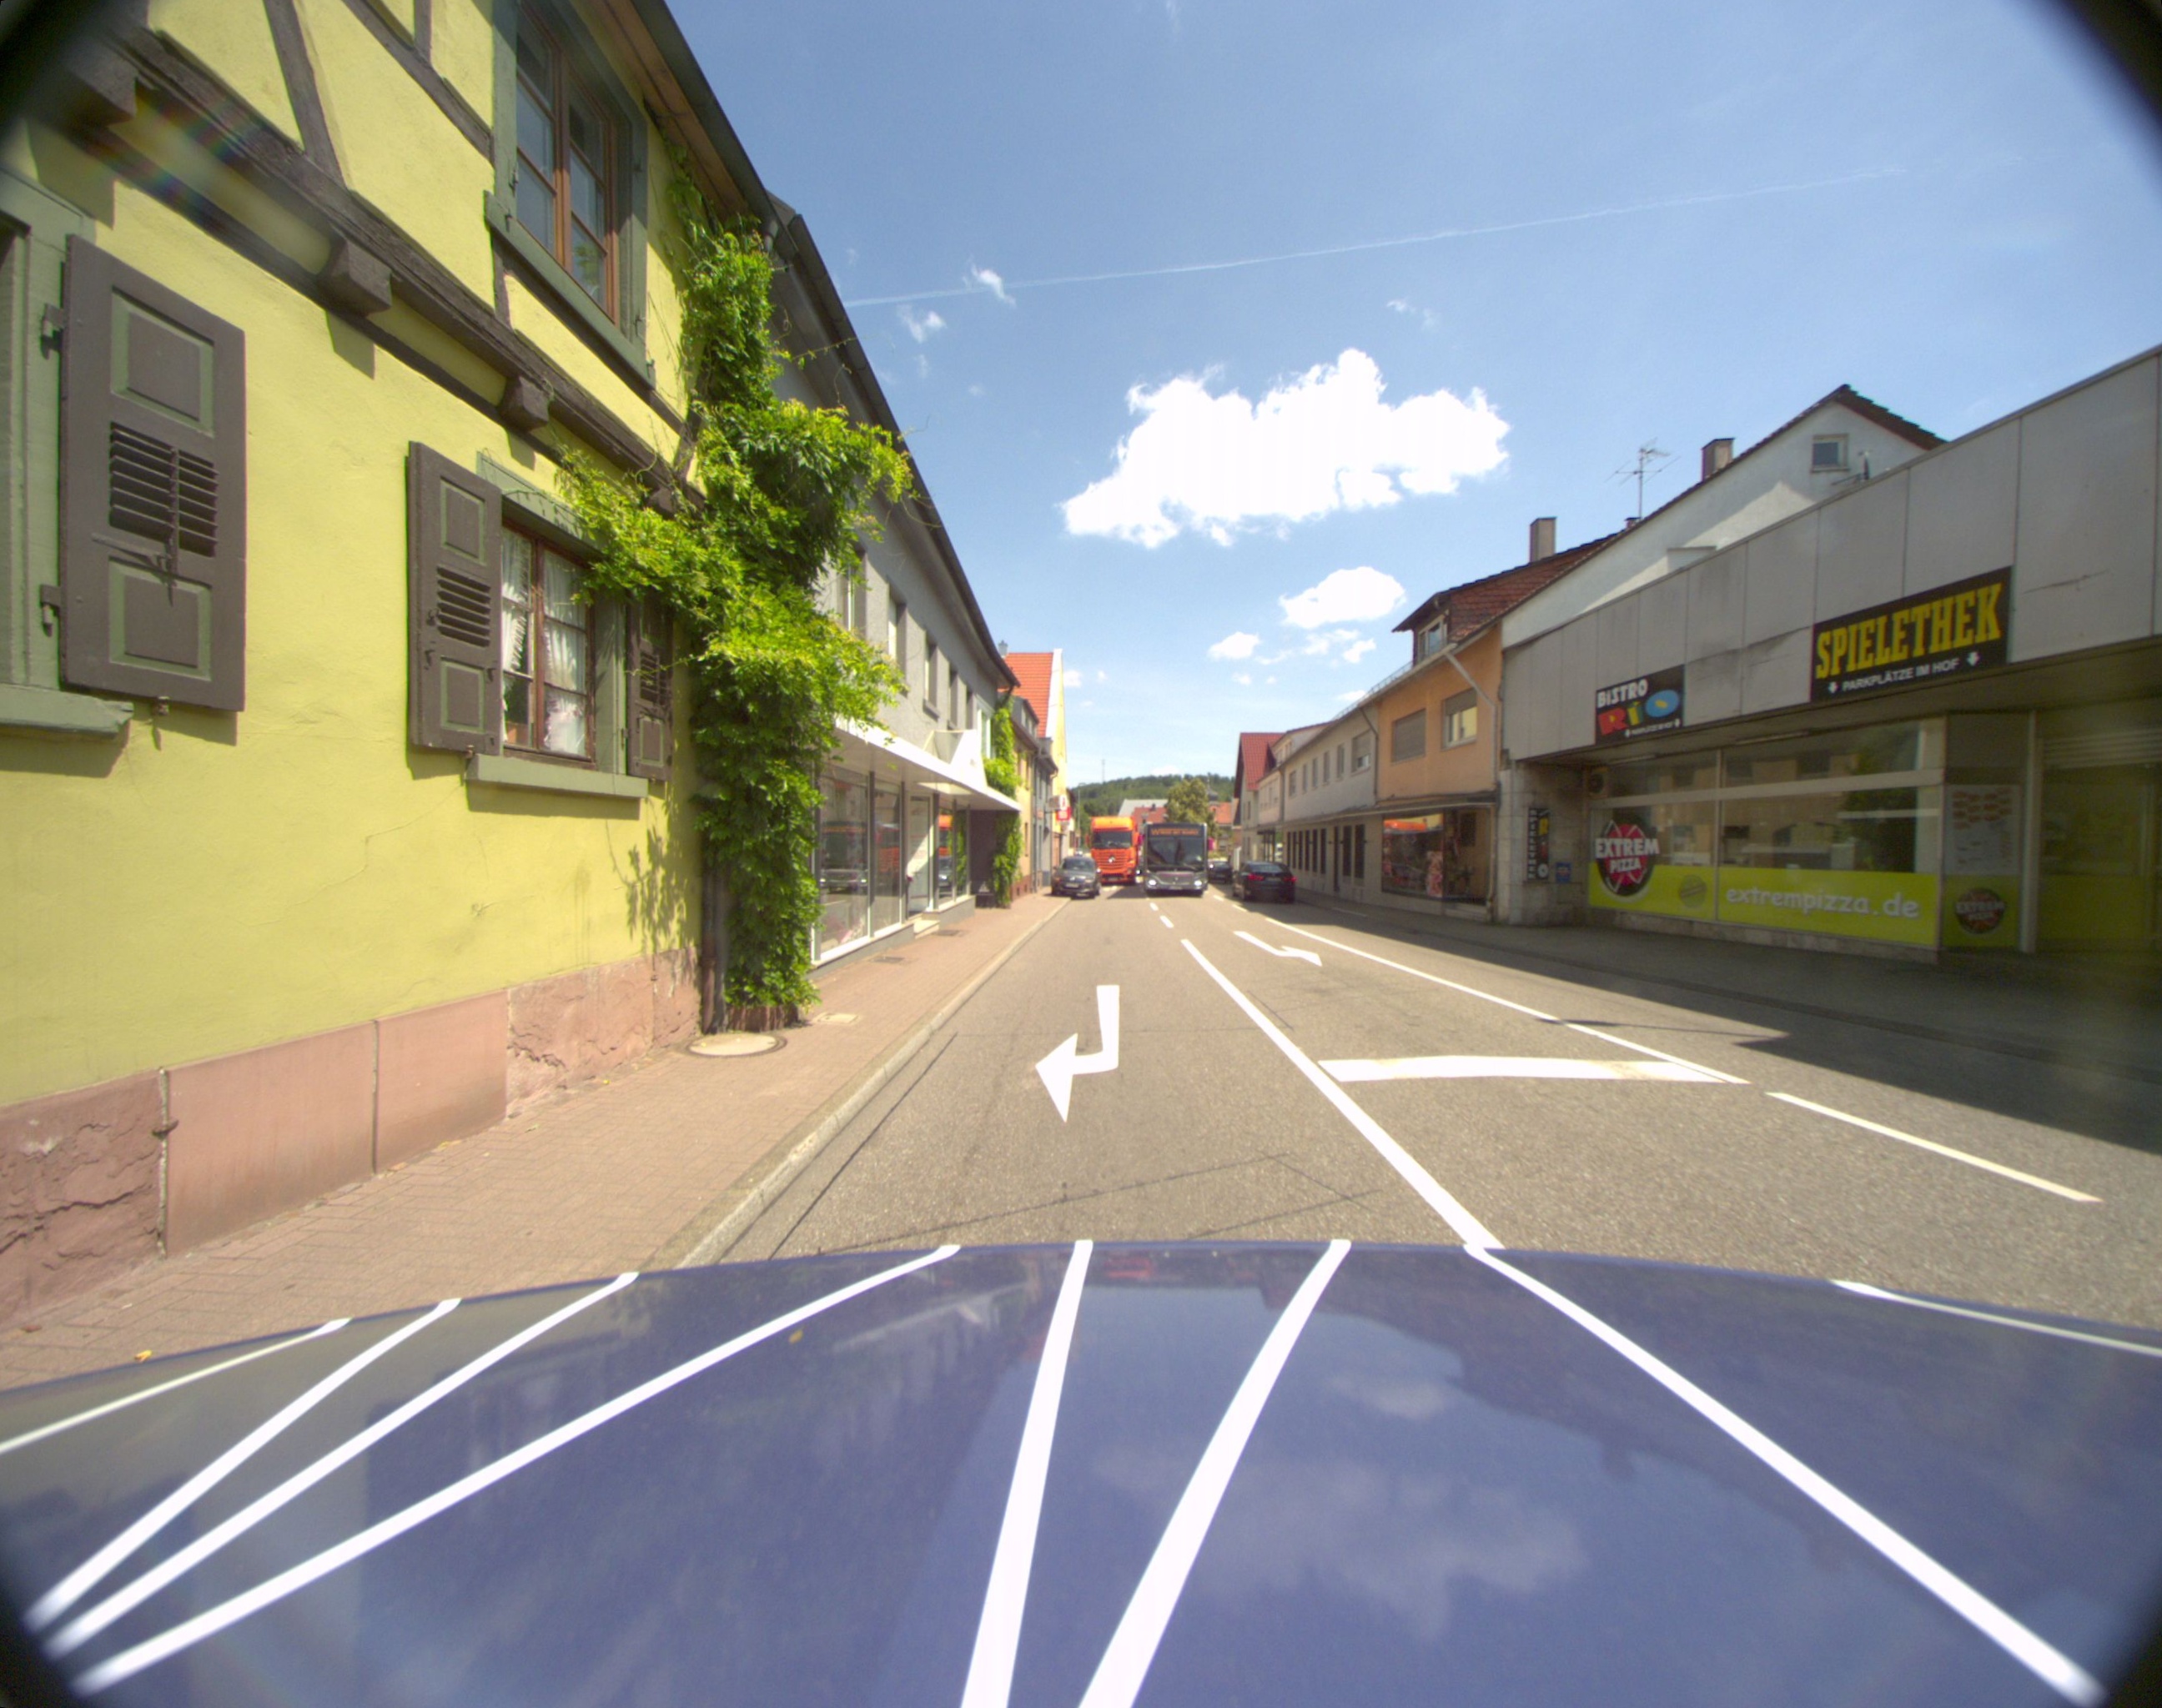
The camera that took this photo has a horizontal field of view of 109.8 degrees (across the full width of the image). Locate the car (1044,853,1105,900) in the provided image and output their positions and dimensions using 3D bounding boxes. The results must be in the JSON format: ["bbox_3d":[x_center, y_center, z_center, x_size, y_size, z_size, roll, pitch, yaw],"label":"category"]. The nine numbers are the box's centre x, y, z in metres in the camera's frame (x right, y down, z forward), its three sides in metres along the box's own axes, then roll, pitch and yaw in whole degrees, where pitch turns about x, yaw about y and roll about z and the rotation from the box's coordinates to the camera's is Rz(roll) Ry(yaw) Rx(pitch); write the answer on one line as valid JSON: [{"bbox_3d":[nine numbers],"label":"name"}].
[{"bbox_3d":[-0.195,0.876,31.650,1.997,1.699,4.102,2,1,6],"label":"car"}]

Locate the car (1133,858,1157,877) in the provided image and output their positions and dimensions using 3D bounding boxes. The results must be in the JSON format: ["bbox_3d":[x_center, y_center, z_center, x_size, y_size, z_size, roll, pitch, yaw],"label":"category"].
[{"bbox_3d":[4.985,1.036,59.448,1.721,1.400,4.286,3,0,4],"label":"car"}]

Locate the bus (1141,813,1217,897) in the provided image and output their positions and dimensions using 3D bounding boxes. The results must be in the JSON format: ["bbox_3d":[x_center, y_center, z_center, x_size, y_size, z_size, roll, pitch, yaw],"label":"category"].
[{"bbox_3d":[4.761,0.080,38.663,2.857,3.185,19.042,-1,0,6],"label":"bus"}]

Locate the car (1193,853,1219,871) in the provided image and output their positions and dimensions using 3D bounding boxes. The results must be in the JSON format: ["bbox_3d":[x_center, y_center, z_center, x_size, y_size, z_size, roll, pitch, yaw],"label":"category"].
[{"bbox_3d":[10.663,0.702,65.094,1.721,1.400,4.286,3,0,4],"label":"car"}]

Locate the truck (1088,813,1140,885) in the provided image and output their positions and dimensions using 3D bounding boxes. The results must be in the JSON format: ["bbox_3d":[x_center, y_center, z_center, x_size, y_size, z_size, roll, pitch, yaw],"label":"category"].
[{"bbox_3d":[2.212,-0.247,47.200,2.614,3.922,9.997,-2,-1,5],"label":"truck"}]

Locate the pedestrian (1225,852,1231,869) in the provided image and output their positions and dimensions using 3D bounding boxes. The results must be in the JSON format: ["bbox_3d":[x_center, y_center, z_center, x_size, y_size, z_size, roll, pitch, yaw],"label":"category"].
[{"bbox_3d":[15.006,0.687,77.667,0.471,1.754,0.478,0,2,-17],"label":"pedestrian"}]

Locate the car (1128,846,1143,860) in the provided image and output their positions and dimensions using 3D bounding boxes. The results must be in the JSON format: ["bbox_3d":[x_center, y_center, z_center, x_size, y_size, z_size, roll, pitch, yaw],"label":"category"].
[{"bbox_3d":[7.942,-0.162,111.481,1.998,1.867,4.323,-2,-2,2],"label":"car"}]

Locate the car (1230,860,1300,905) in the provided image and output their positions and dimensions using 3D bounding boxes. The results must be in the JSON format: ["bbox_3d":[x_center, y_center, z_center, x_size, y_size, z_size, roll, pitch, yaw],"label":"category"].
[{"bbox_3d":[7.101,1.044,29.842,1.801,1.478,4.798,3,1,4],"label":"car"}]

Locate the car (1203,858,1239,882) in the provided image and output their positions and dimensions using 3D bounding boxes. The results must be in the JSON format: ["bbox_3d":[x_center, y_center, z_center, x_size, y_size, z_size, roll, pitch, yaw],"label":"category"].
[{"bbox_3d":[8.874,1.008,48.363,1.721,1.414,3.821,2,-1,3],"label":"car"}]
